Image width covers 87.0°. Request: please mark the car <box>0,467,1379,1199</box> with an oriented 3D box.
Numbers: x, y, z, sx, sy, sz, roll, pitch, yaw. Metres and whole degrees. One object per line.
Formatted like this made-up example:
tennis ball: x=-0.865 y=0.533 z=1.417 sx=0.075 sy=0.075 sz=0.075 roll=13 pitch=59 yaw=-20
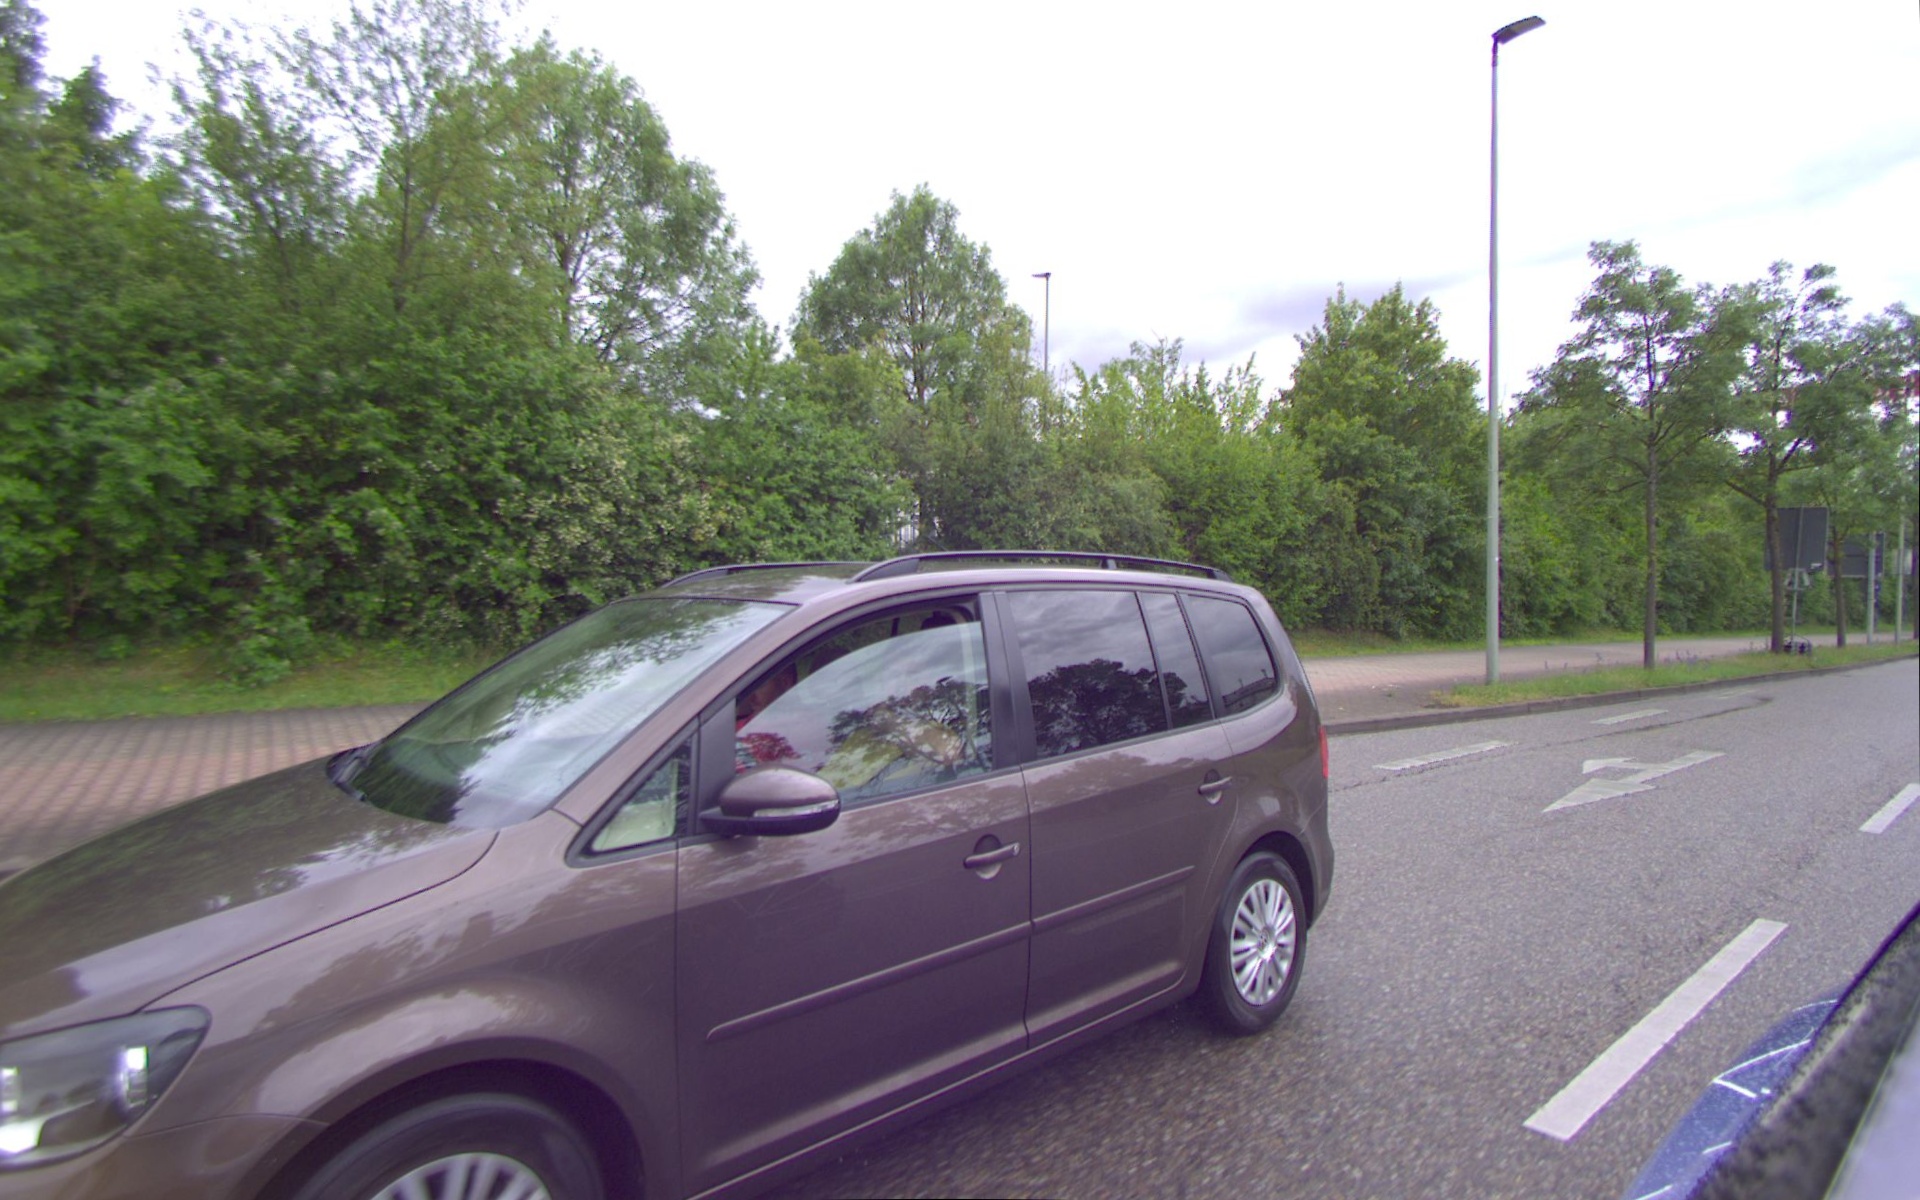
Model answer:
car: x=-0.471 y=0.624 z=3.205 sx=4.058 sy=1.617 sz=1.717 roll=0 pitch=0 yaw=-41
